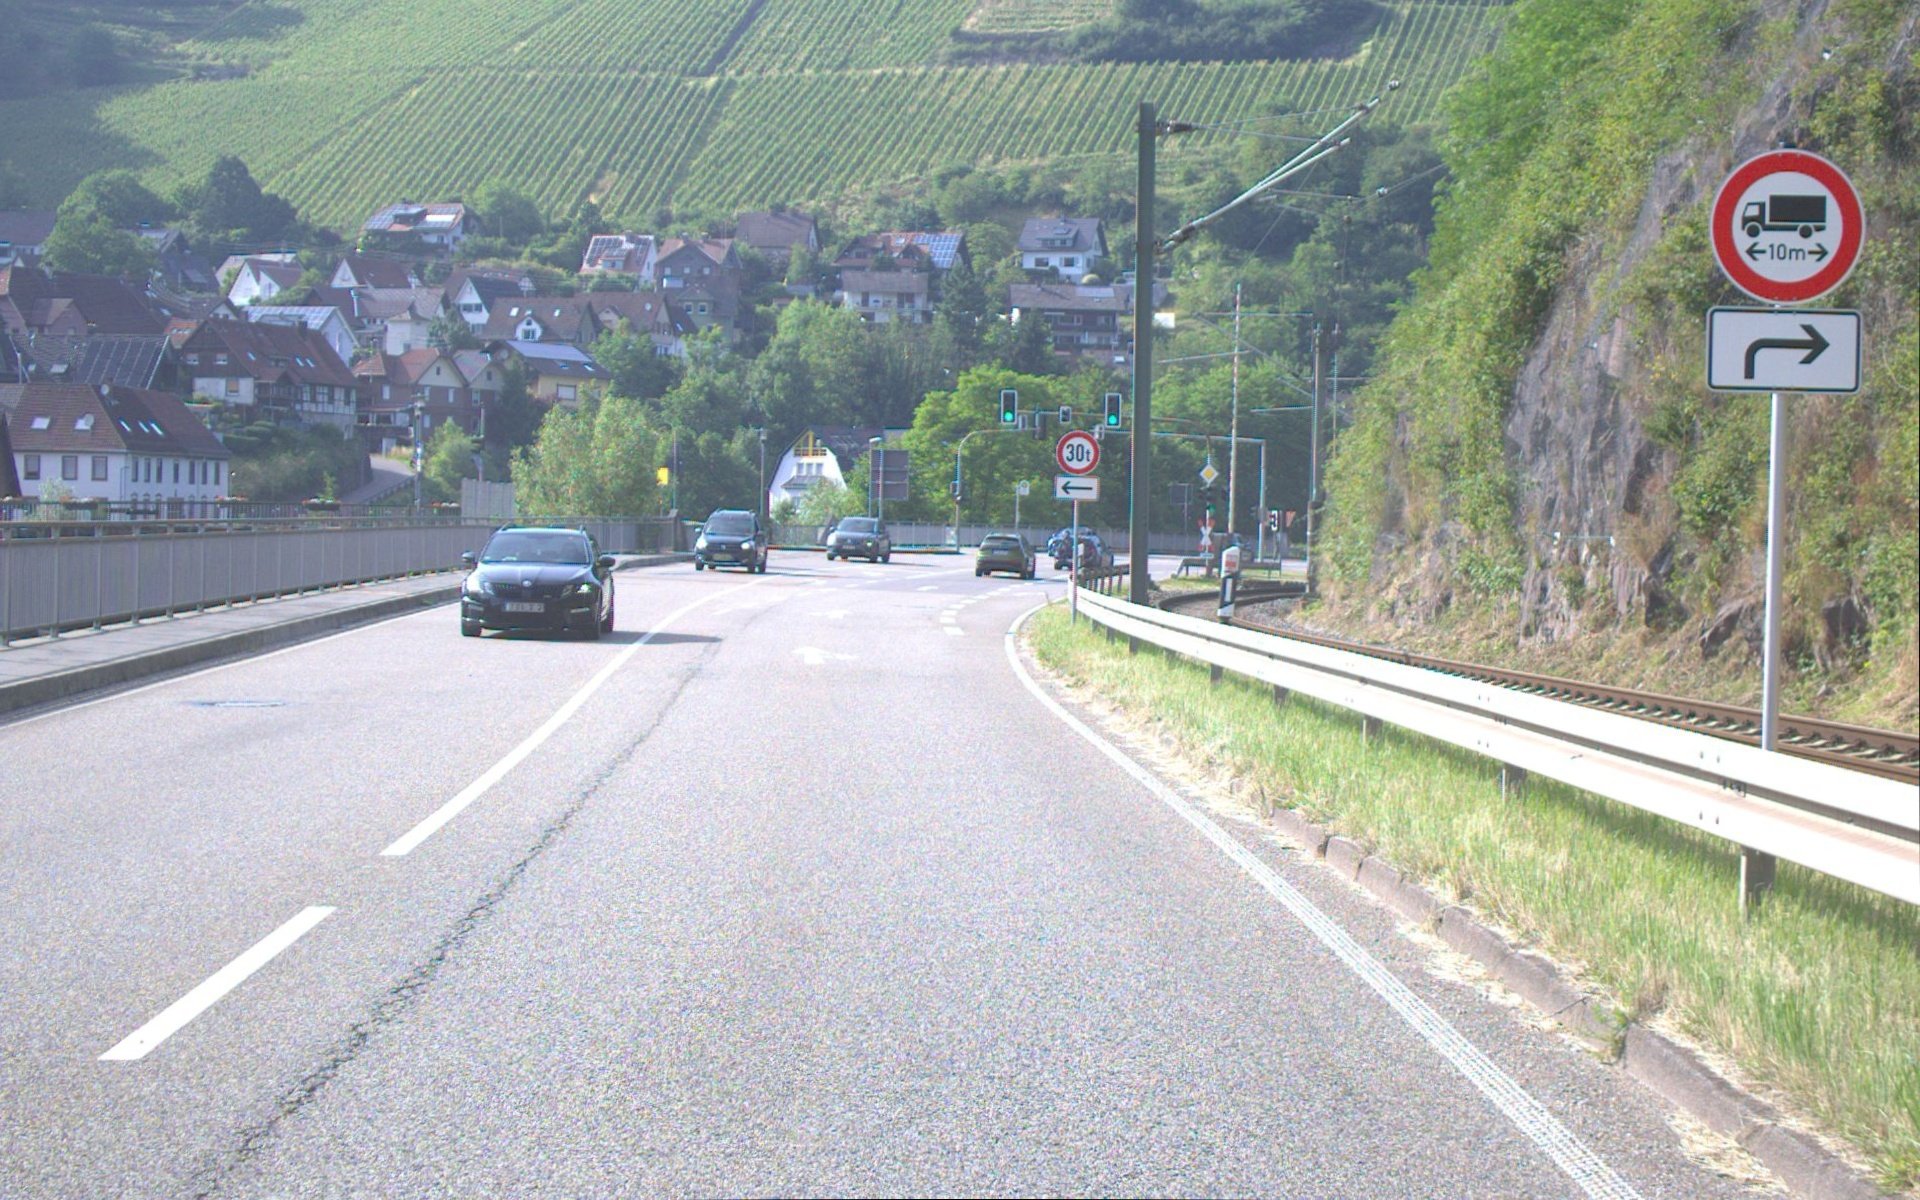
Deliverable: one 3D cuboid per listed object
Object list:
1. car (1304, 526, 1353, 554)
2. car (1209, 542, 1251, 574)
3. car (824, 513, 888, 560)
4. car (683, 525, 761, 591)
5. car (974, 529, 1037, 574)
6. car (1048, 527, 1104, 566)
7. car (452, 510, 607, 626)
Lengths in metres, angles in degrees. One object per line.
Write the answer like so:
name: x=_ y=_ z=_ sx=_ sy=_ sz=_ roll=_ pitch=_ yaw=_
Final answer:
car: x=19.977 y=-3.249 z=186.394 sx=1.810 sy=1.403 sz=3.769 roll=1 pitch=0 yaw=19
car: x=12.954 y=-2.004 z=164.938 sx=1.807 sy=1.448 sz=3.646 roll=1 pitch=0 yaw=7
car: x=-3.863 y=-2.380 z=128.194 sx=1.817 sy=1.641 sz=4.612 roll=2 pitch=1 yaw=4
car: x=-6.936 y=-1.251 z=100.418 sx=1.791 sy=1.821 sz=4.828 roll=2 pitch=1 yaw=1
car: x=1.555 y=-1.638 z=116.243 sx=1.729 sy=1.452 sz=3.409 roll=1 pitch=0 yaw=7
car: x=4.601 y=-2.105 z=135.986 sx=1.840 sy=1.454 sz=3.712 roll=1 pitch=0 yaw=8
car: x=-5.618 y=-0.451 z=45.278 sx=1.720 sy=1.430 sz=4.340 roll=1 pitch=1 yaw=-3
